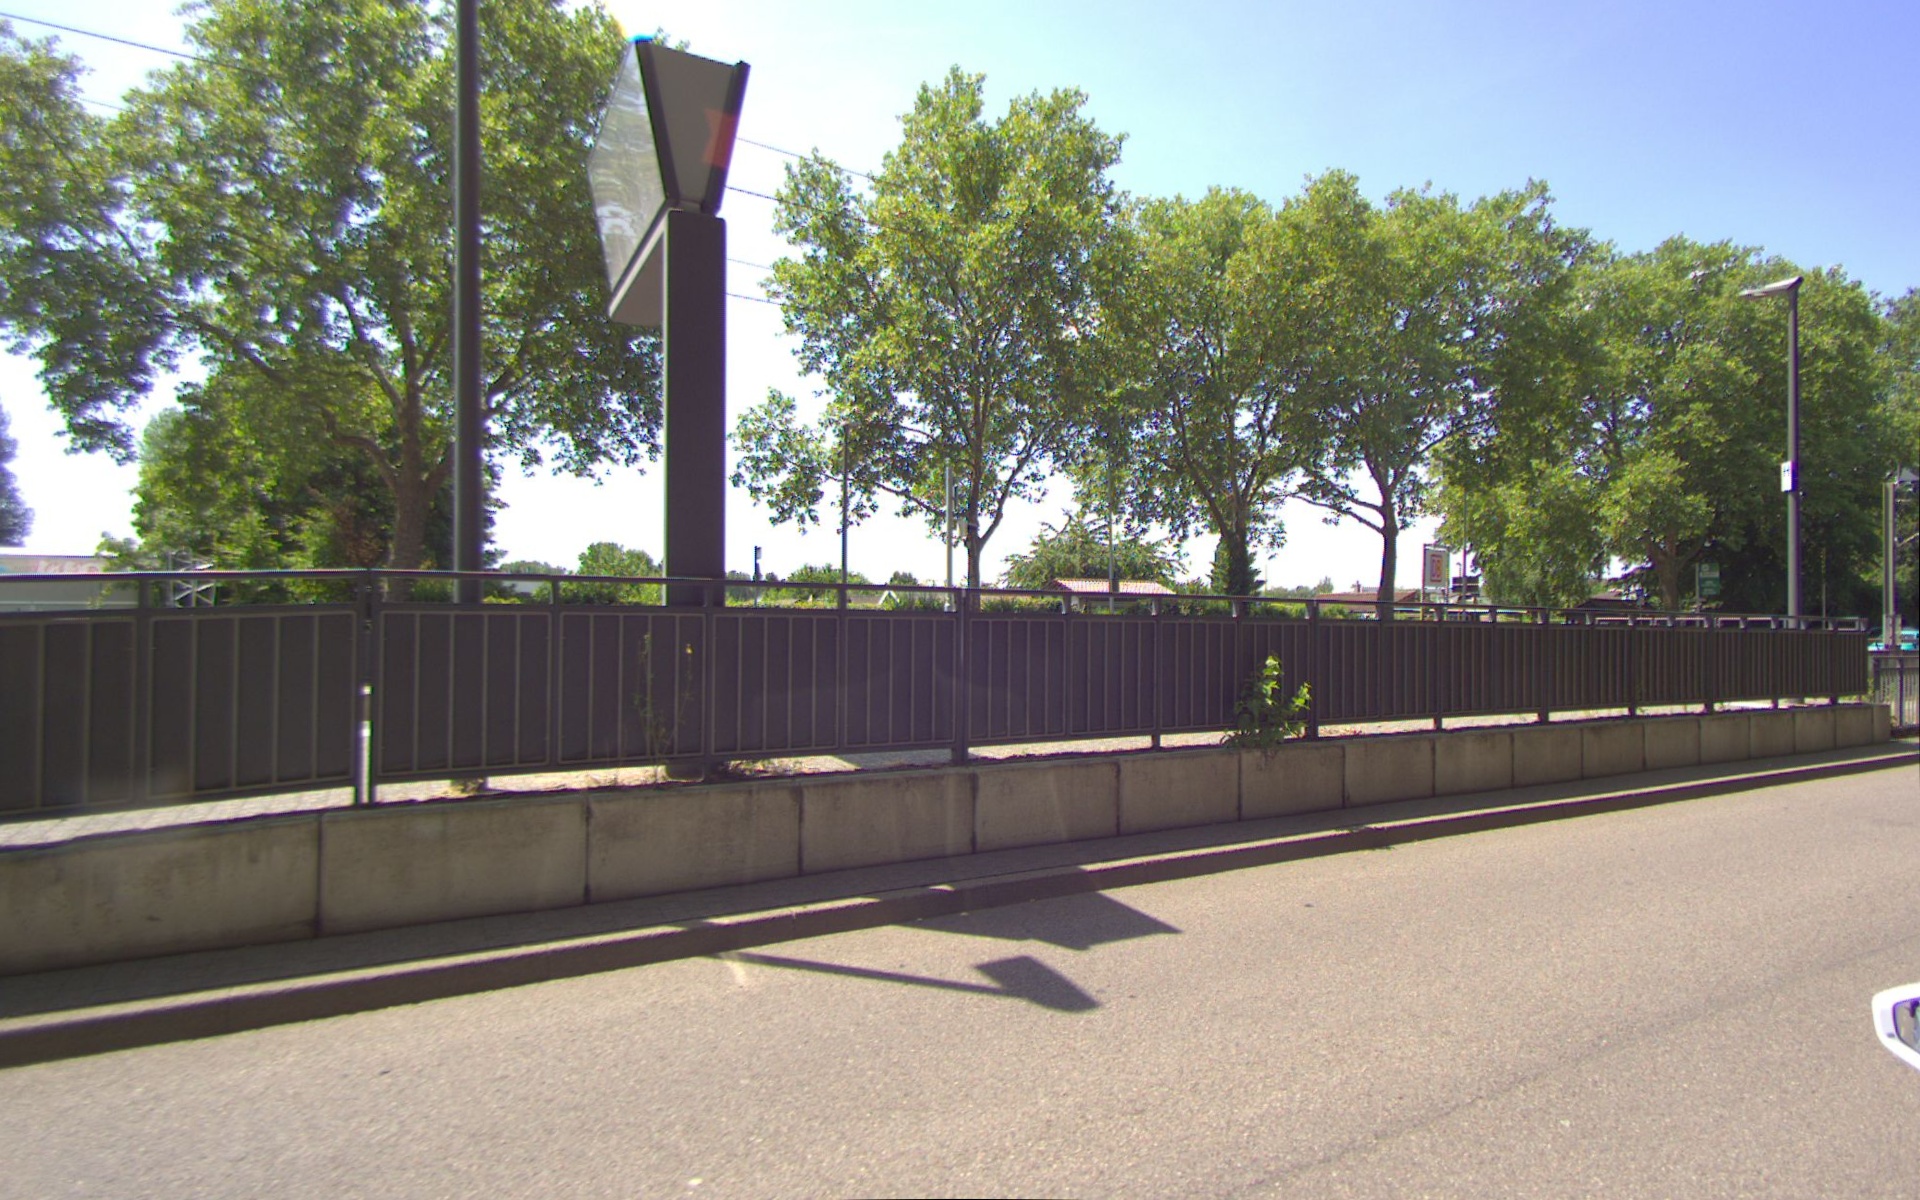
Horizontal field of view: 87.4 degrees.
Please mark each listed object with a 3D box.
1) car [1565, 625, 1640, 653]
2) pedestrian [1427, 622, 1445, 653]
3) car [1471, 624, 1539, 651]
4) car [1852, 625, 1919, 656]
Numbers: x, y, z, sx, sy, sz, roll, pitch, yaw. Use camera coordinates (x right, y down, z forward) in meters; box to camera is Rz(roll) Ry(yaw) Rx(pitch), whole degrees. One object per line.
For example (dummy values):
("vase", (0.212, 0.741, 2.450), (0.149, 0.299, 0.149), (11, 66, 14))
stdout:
("car", (36.713, 2.204, 57.463), (1.641, 1.495, 3.288), (2, -1, -40))
("pedestrian", (22.900, 1.810, 48.328), (0.641, 1.471, 0.550), (1, -1, -44))
("car", (32.761, 2.224, 60.417), (1.641, 1.495, 3.288), (2, -1, -40))
("car", (40.878, 1.765, 43.916), (3.789, 1.282, 1.639), (1, -1, -28))
